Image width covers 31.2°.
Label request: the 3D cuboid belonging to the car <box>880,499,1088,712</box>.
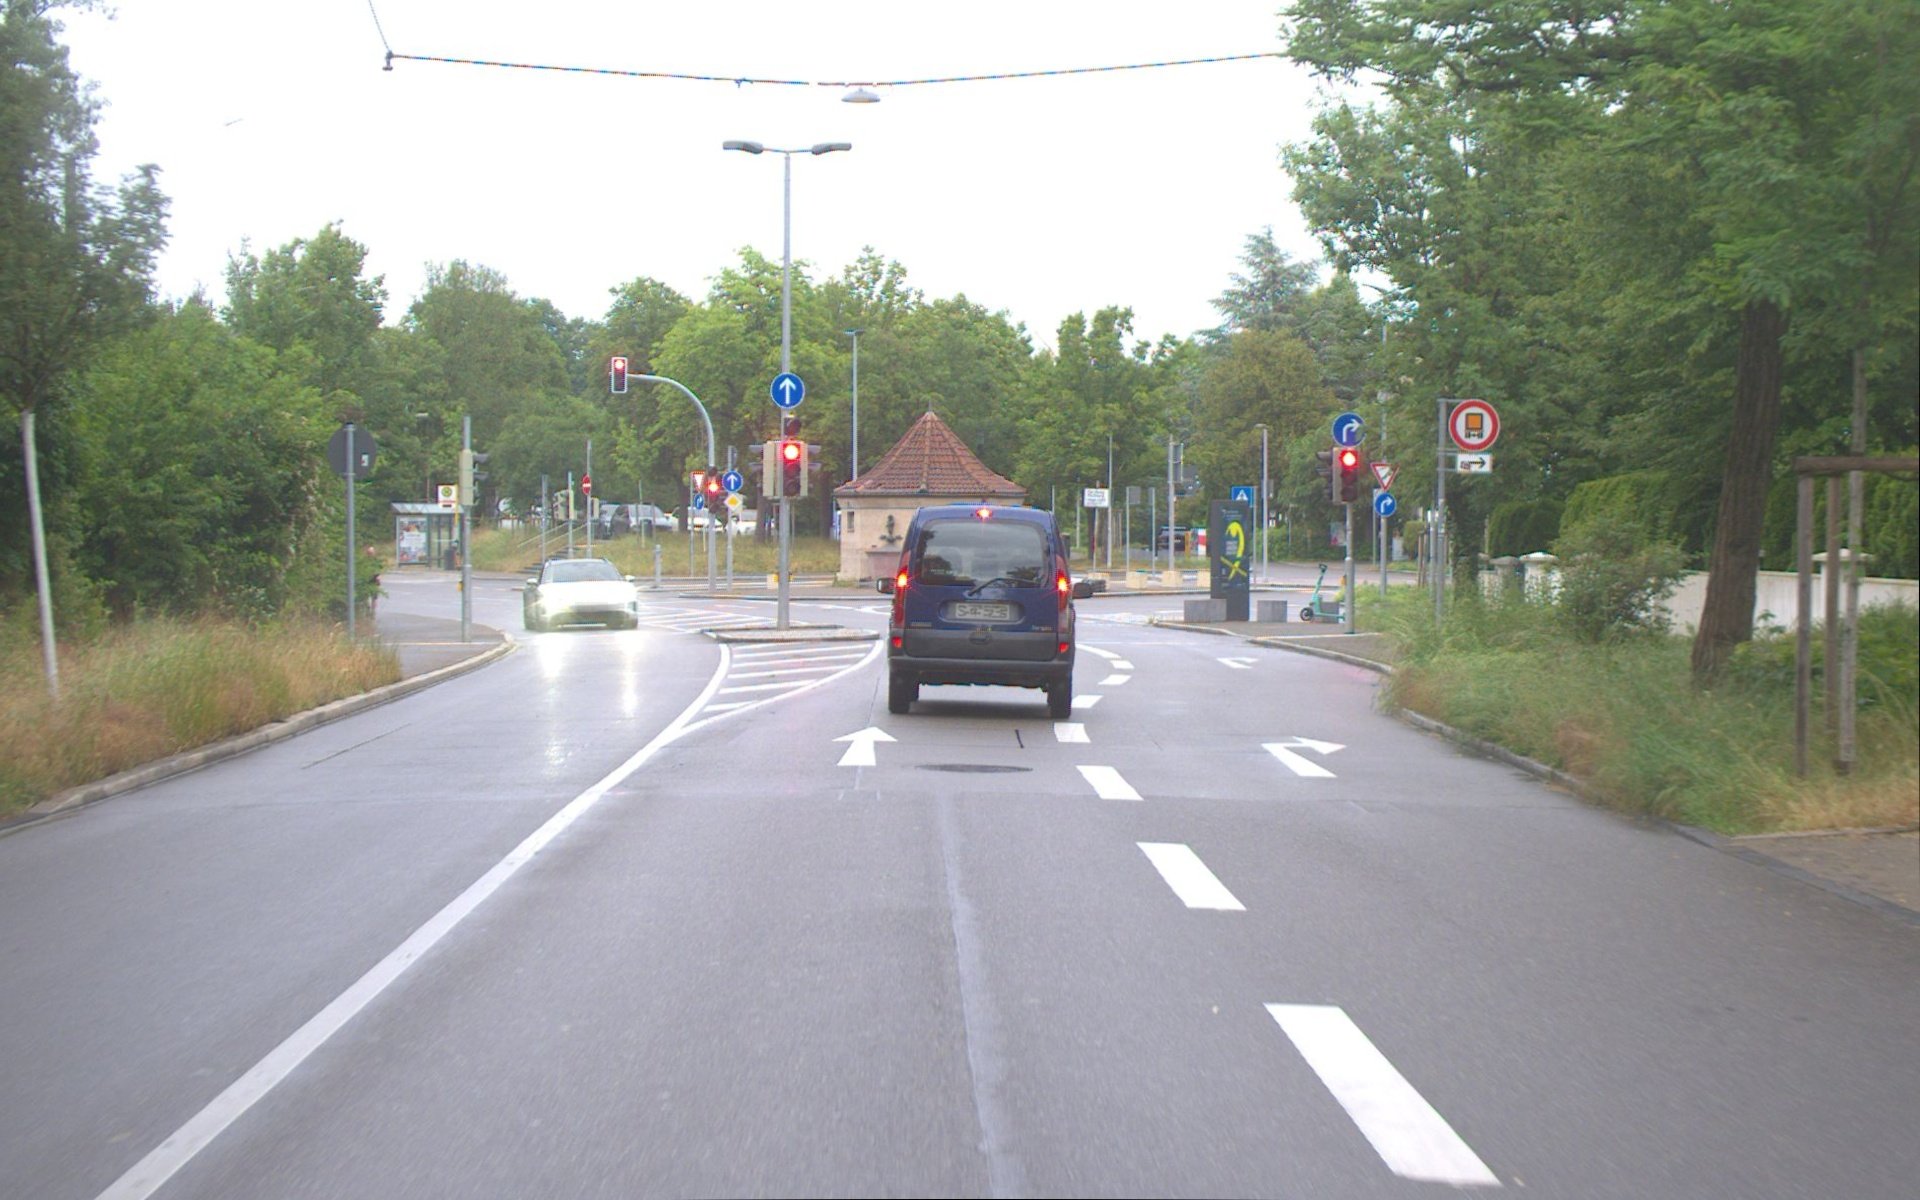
[{"bbox_3d":[0.165,0.011,31.249,1.731,1.780,4.000,1,1,-1],"label":"car"}]

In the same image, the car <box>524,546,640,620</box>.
[{"bbox_3d":[-7.515,-0.359,68.086,1.993,1.307,4.361,-2,1,-9],"label":"car"}]

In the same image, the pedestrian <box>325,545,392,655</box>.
[{"bbox_3d":[-11.109,-0.001,63.539,1.088,2.007,1.000,1,0,-4],"label":"pedestrian"}]

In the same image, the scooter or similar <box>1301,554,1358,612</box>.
[{"bbox_3d":[7.746,-0.352,72.044,1.149,1.215,0.406,1,0,0],"label":"scooter or similar"}]
